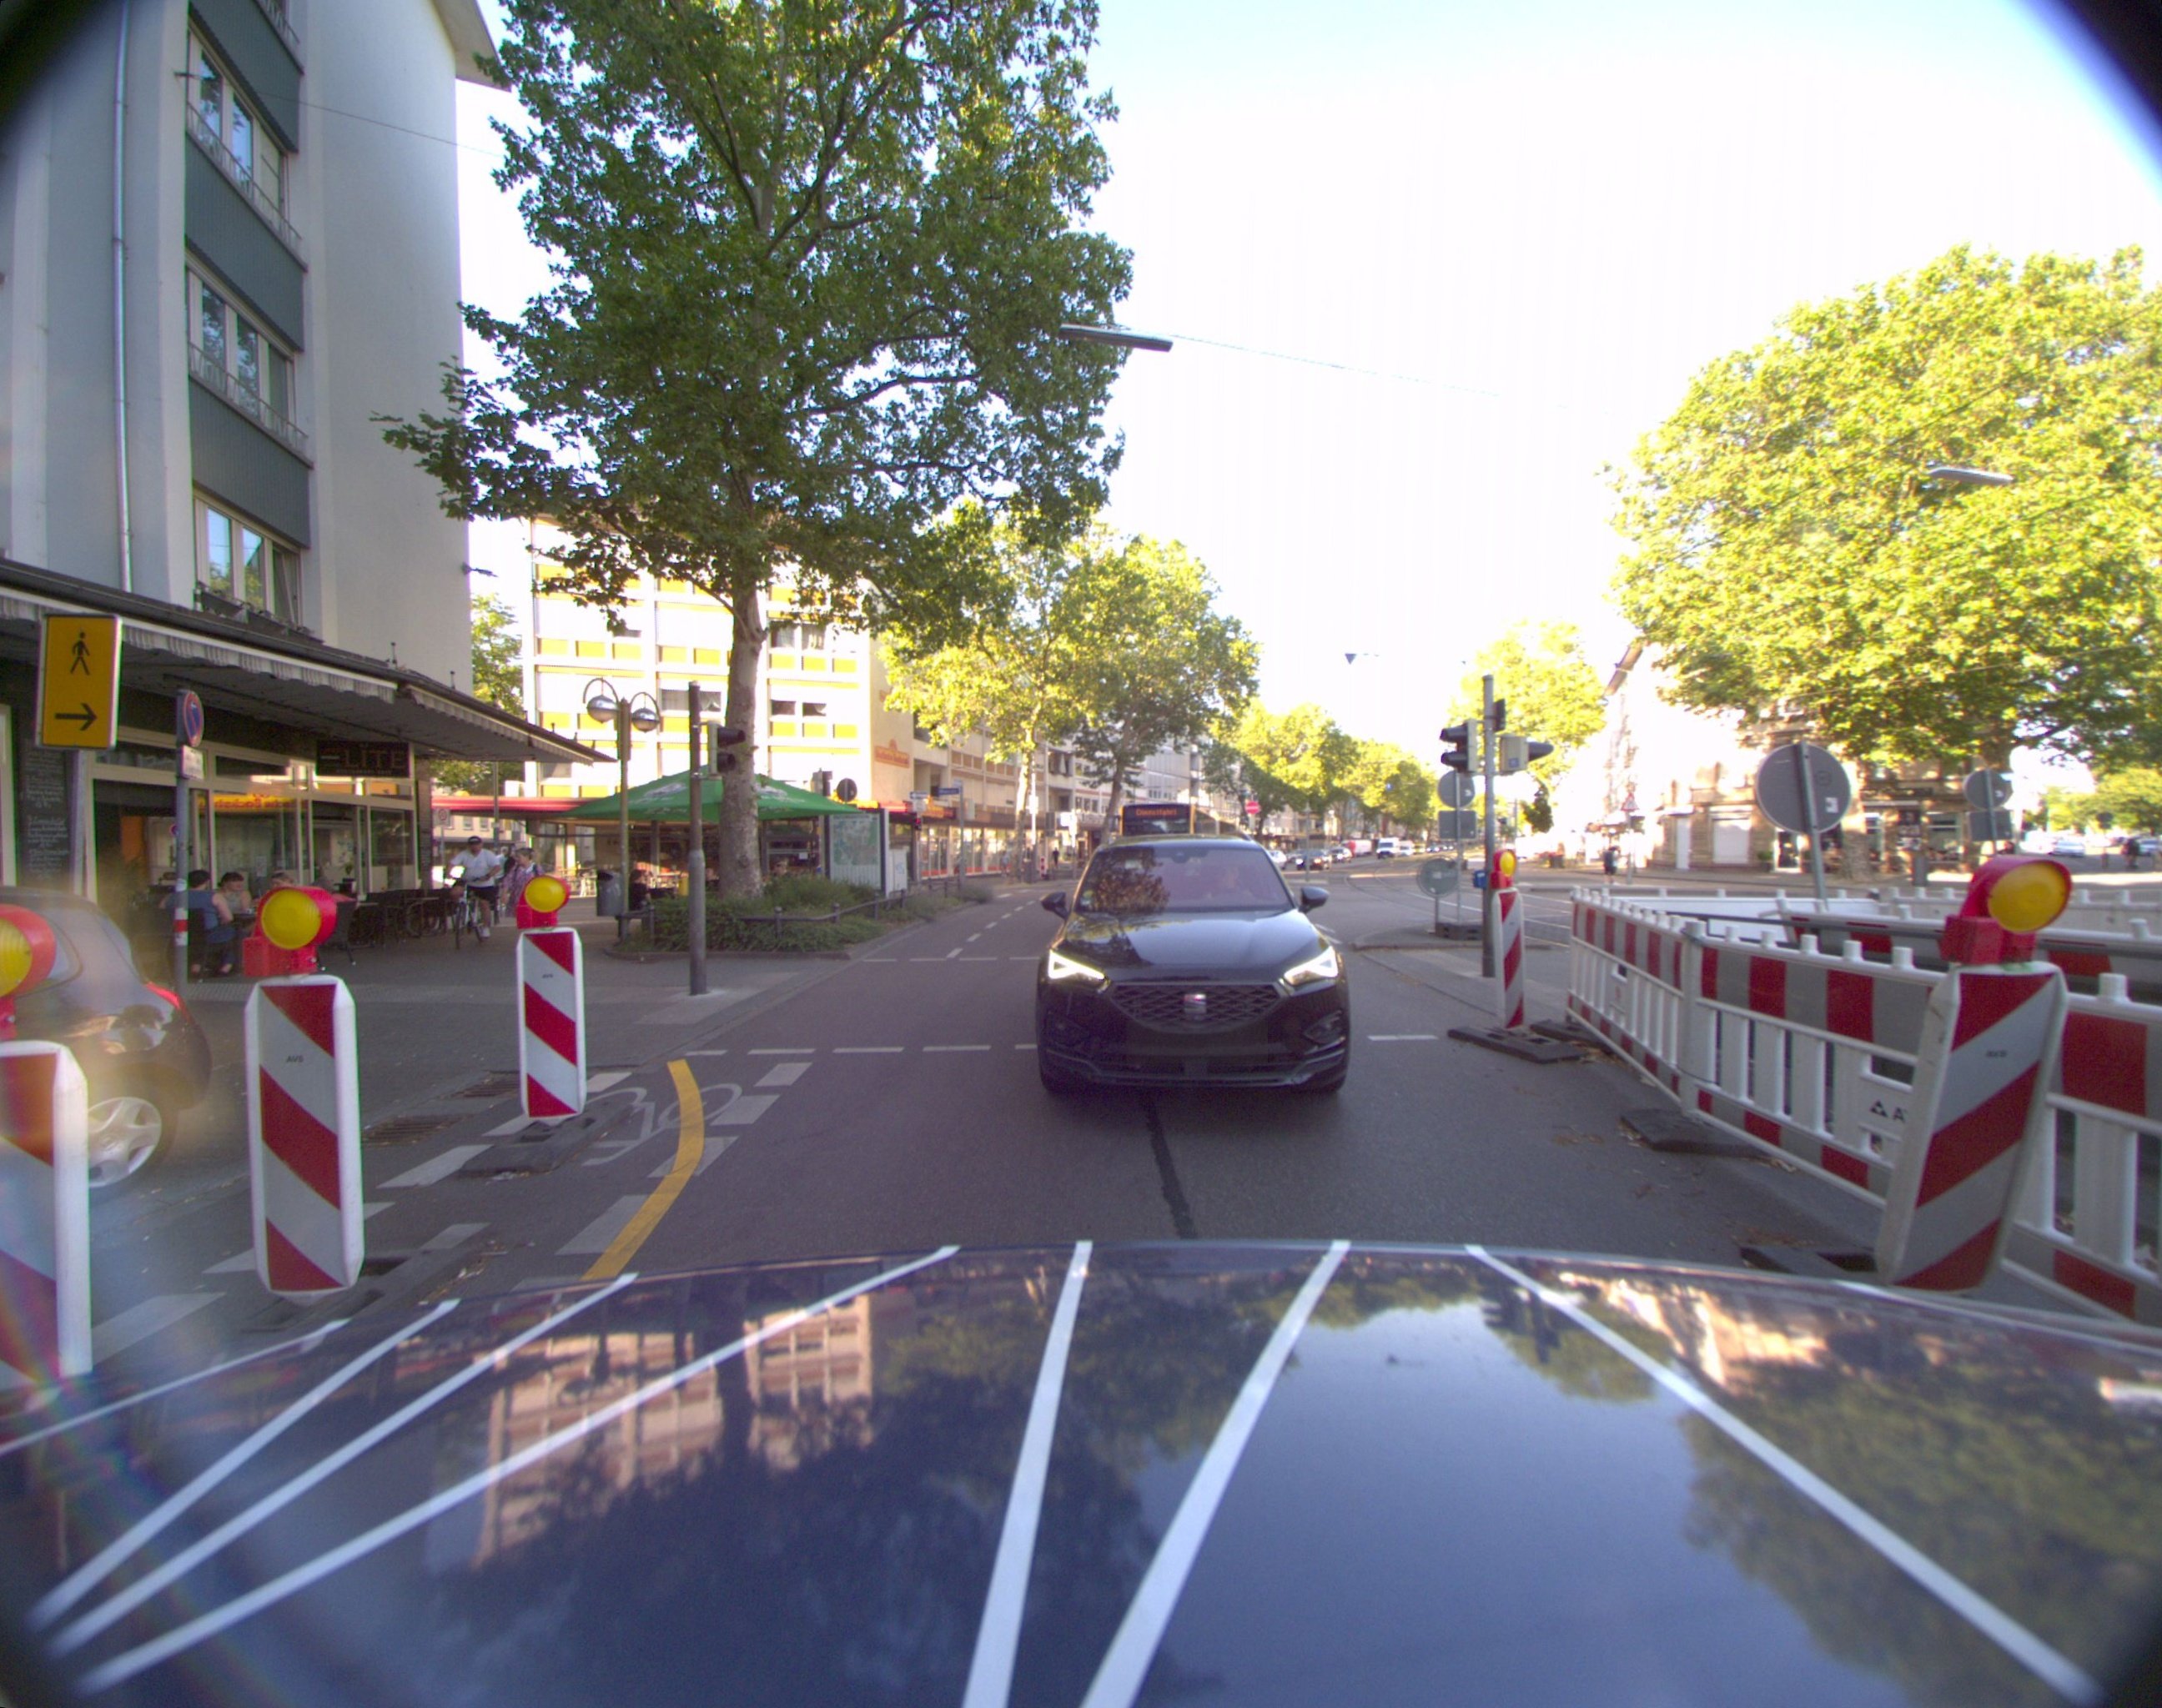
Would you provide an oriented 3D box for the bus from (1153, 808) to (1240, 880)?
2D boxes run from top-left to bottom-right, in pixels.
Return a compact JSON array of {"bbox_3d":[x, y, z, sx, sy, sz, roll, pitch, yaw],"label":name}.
[{"bbox_3d":[5.853,-0.458,37.101,2.717,3.088,8.608,0,1,19],"label":"bus"}]

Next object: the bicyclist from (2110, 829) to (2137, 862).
[{"bbox_3d":[54.784,-0.426,39.944,0.766,1.718,0.672,-1,1,-23],"label":"bicyclist"}]

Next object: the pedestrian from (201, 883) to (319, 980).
[{"bbox_3d":[-10.751,0.994,9.978,0.647,1.186,0.792,0,1,7],"label":"pedestrian"}]

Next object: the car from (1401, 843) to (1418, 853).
[{"bbox_3d":[47.133,-0.839,109.015,1.700,1.462,3.771,0,1,31],"label":"car"}]

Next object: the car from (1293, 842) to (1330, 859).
[{"bbox_3d":[28.159,-0.460,92.940,3.994,2.002,2.001,-1,1,8],"label":"car"}]

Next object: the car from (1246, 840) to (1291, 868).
[{"bbox_3d":[13.705,-0.013,55.380,1.994,2.002,4.008,0,1,33],"label":"car"}]

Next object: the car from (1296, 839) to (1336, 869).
[{"bbox_3d":[16.631,-0.041,53.575,1.995,2.002,4.007,0,1,27],"label":"car"}]

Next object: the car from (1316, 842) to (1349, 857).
[{"bbox_3d":[34.255,-0.668,103.653,3.994,2.002,2.001,-1,1,8],"label":"car"}]

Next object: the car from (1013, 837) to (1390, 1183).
[{"bbox_3d":[0.622,0.750,5.732,1.841,1.696,4.000,-1,1,1],"label":"car"}]

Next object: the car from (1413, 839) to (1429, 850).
[{"bbox_3d":[55.350,-1.490,123.570,1.836,1.792,4.138,0,1,31],"label":"car"}]

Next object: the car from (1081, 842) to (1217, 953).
[{"bbox_3d":[1.038,0.628,13.325,1.998,1.634,4.075,-1,1,1],"label":"car"}]

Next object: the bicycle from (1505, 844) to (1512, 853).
[{"bbox_3d":[61.891,-0.781,110.058,0.850,1.186,2.470,0,1,27],"label":"bicycle"}]

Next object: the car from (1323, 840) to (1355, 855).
[{"bbox_3d":[36.582,-0.904,107.926,3.994,2.002,2.001,-1,1,8],"label":"car"}]

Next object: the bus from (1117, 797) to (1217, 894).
[{"bbox_3d":[3.498,-0.311,28.670,2.718,3.088,8.629,0,1,13],"label":"bus"}]

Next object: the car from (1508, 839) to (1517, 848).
[{"bbox_3d":[103.881,-2.475,182.977,1.994,2.002,4.007,0,1,29],"label":"car"}]

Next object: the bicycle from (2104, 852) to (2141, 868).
[{"bbox_3d":[54.756,0.317,39.939,1.993,0.777,0.680,-1,1,-23],"label":"bicycle"}]

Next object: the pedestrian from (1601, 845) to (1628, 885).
[{"bbox_3d":[20.347,0.414,28.997,0.603,1.524,0.745,0,1,12],"label":"pedestrian"}]

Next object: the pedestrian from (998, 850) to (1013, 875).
[{"bbox_3d":[-4.357,0.468,43.842,0.627,1.429,0.532,0,1,20],"label":"pedestrian"}]

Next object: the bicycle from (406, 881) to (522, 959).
[{"bbox_3d":[-9.875,1.014,12.250,0.752,1.123,1.884,2,-1,-17],"label":"bicycle"}]

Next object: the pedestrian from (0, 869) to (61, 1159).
[{"bbox_3d":[-6.436,0.922,4.145,0.583,1.637,0.796,-1,2,-1],"label":"pedestrian"}]

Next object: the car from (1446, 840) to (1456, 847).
[{"bbox_3d":[87.955,-2.498,180.483,1.836,1.792,4.138,0,1,31],"label":"car"}]

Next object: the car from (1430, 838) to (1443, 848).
[{"bbox_3d":[68.025,-2.043,145.270,1.836,1.792,4.138,0,1,31],"label":"car"}]

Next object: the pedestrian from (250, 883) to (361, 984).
[{"bbox_3d":[-9.894,0.987,9.708,0.877,1.186,0.701,0,1,24],"label":"pedestrian"}]

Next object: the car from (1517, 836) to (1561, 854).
[{"bbox_3d":[52.534,-1.000,87.191,4.001,2.002,1.997,-1,1,-13],"label":"car"}]

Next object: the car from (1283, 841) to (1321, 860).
[{"bbox_3d":[24.830,-0.386,85.224,3.991,2.002,2.003,0,1,18],"label":"car"}]

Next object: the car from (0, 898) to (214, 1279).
[{"bbox_3d":[-5.207,0.970,1.990,1.771,1.459,3.610,2,1,-2],"label":"car"}]

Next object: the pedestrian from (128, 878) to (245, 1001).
[{"bbox_3d":[-10.324,0.951,8.776,0.789,1.299,0.701,0,1,28],"label":"pedestrian"}]

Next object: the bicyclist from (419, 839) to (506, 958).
[{"bbox_3d":[-9.847,0.674,12.140,0.754,1.816,0.924,-1,2,-18],"label":"bicyclist"}]

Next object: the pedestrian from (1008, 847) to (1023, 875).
[{"bbox_3d":[-3.756,0.413,43.585,0.627,1.577,0.532,0,1,20],"label":"pedestrian"}]

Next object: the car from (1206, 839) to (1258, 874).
[{"bbox_3d":[9.279,0.117,46.433,1.995,2.002,4.105,0,1,29],"label":"car"}]

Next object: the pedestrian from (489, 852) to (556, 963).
[{"bbox_3d":[-8.456,0.780,11.519,0.629,1.628,0.531,-1,1,-15],"label":"pedestrian"}]

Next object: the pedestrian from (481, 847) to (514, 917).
[{"bbox_3d":[-16.632,0.766,21.677,0.650,1.948,0.887,-1,1,-34],"label":"pedestrian"}]

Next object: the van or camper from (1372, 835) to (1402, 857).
[{"bbox_3d":[38.596,-1.034,95.619,2.420,2.702,6.144,0,1,32],"label":"van or camper"}]
